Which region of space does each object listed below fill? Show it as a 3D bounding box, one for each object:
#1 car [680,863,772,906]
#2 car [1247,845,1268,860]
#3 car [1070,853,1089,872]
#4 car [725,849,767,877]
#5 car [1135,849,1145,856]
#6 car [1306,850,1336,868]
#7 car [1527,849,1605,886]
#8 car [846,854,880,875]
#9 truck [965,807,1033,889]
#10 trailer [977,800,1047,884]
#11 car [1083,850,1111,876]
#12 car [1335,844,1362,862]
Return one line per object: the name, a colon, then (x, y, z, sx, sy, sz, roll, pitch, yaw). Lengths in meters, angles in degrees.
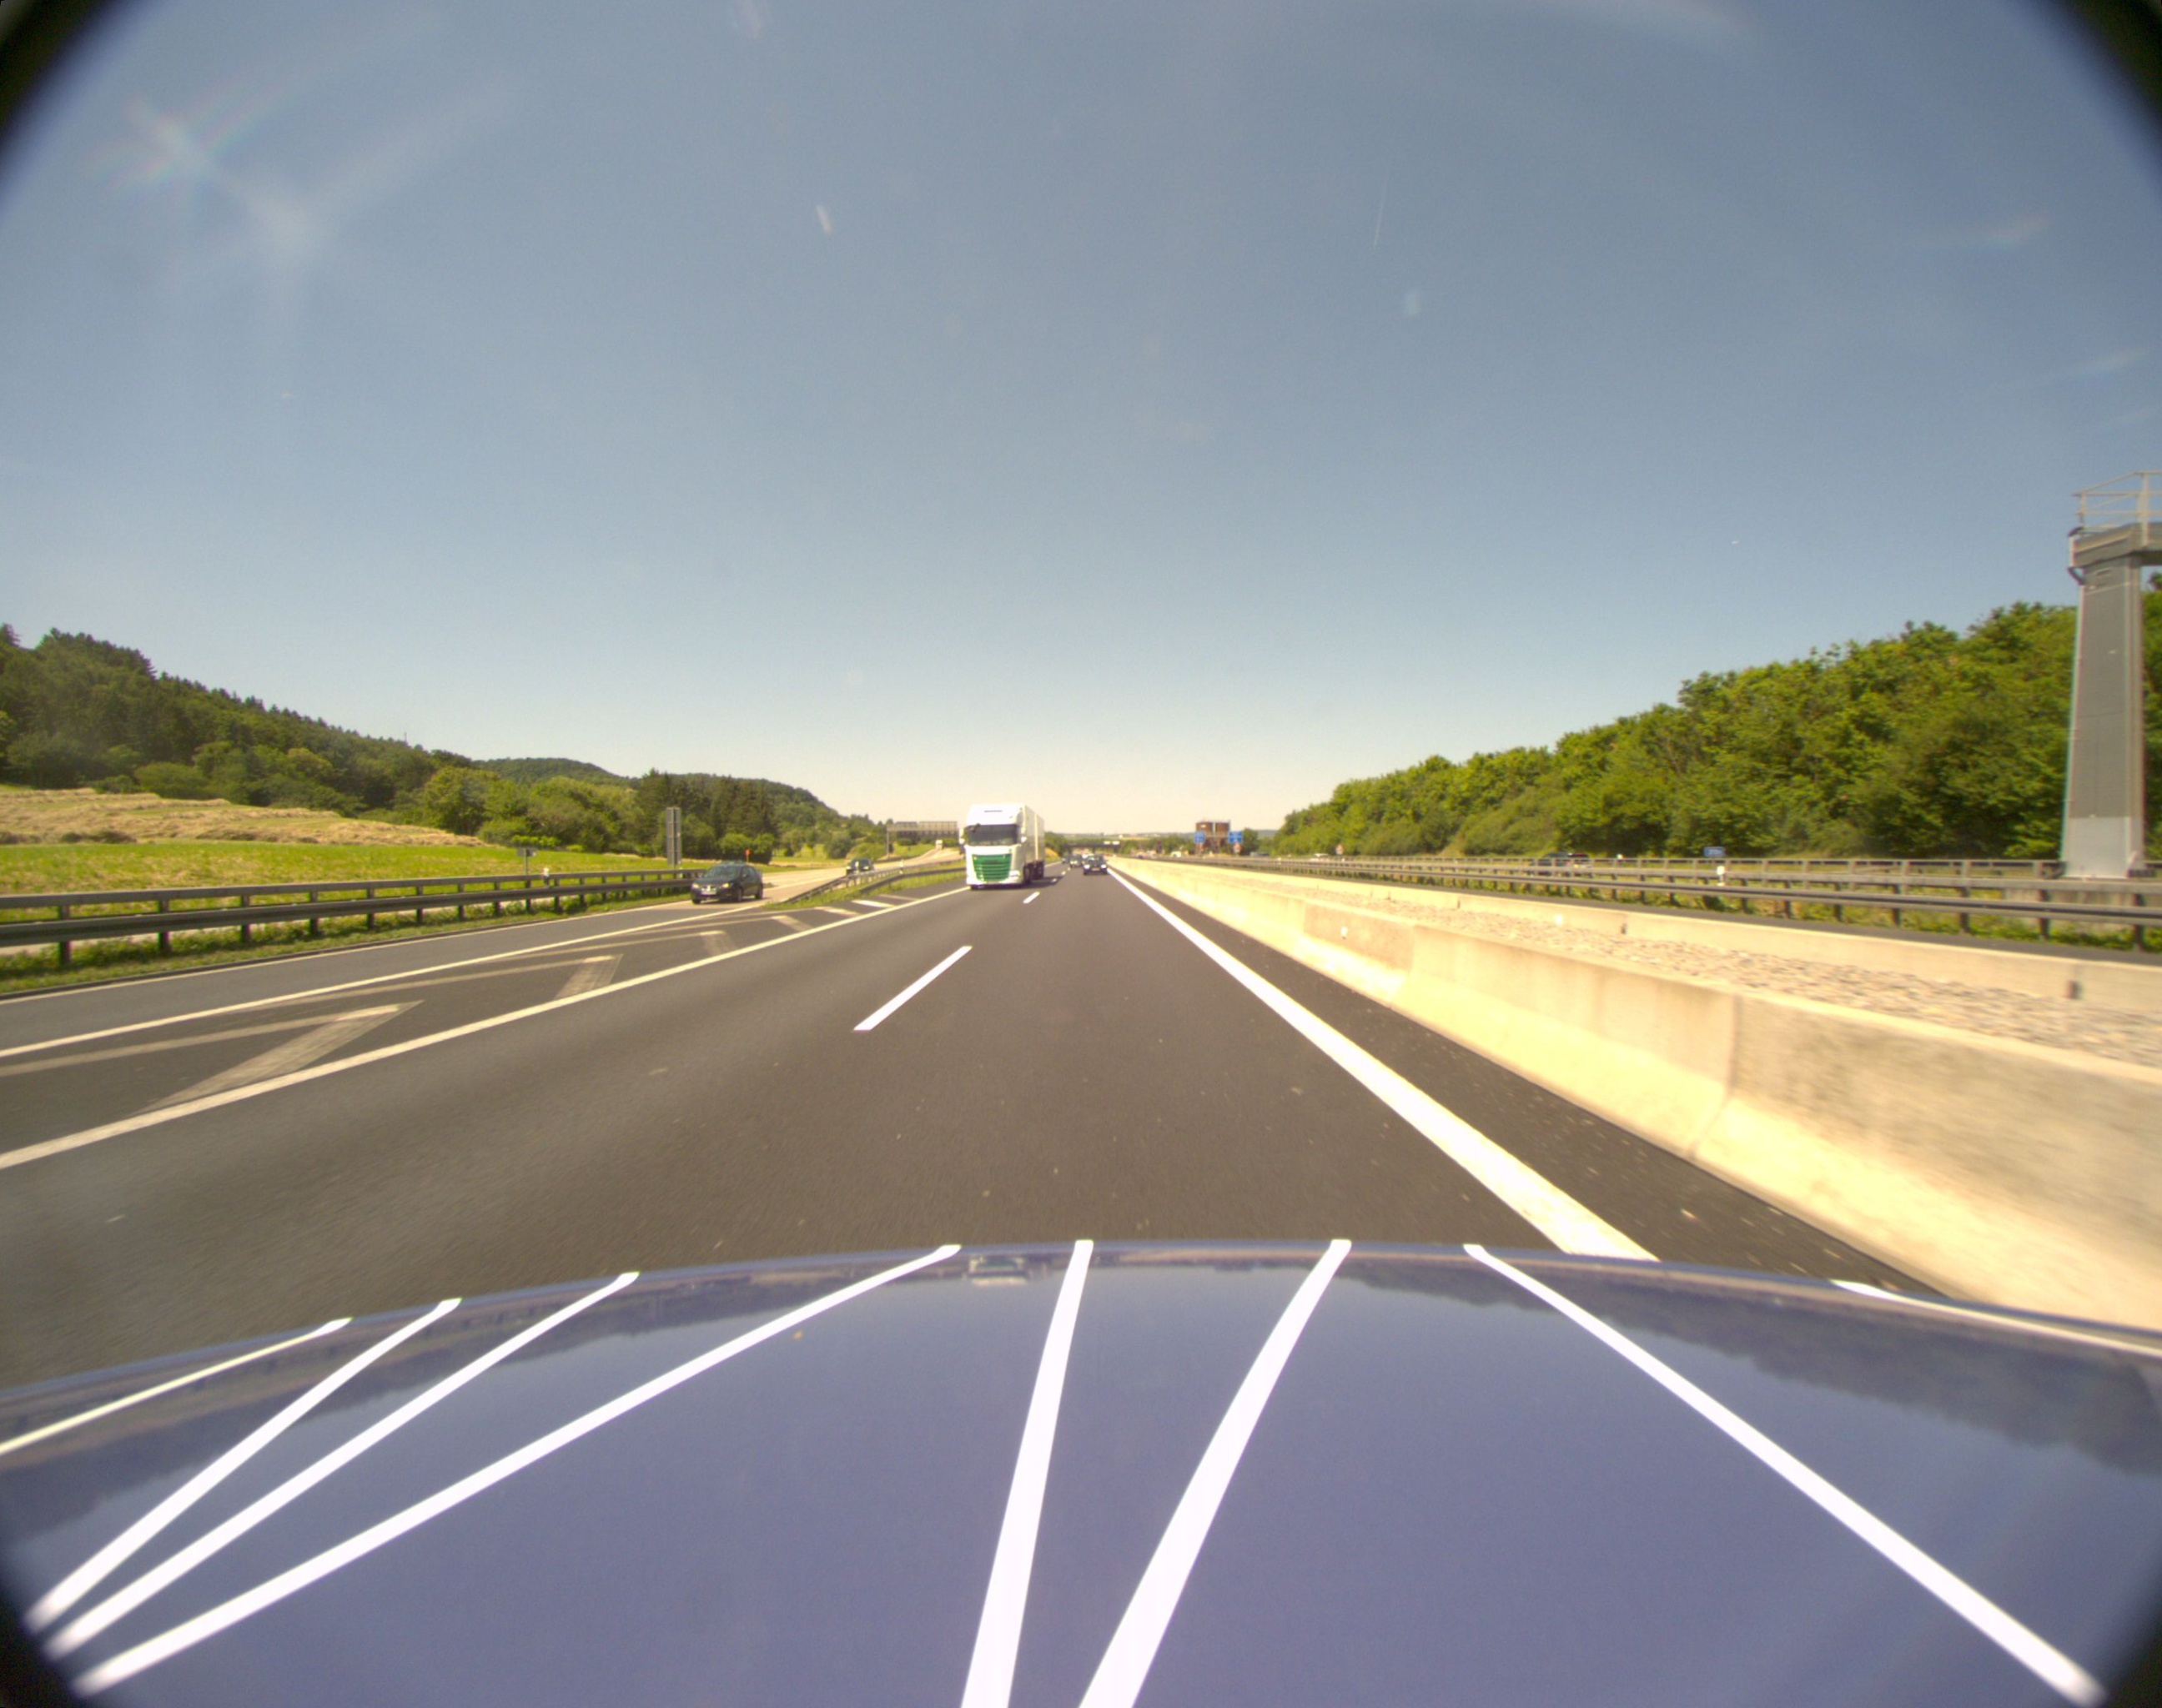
car: (-13.363, 1.106, 28.870, 1.781, 1.392, 3.759, -2, 1, -2)
car: (24.819, -0.258, 106.865, 1.951, 2.002, 4.764, -2, 1, 3)
car: (-0.110, 0.980, 86.495, 1.998, 2.002, 3.999, -2, 1, 1)
car: (-25.051, 0.638, 56.940, 2.000, 2.002, 3.996, 0, 1, -11)
car: (14.174, -0.283, 183.865, 1.839, 1.525, 4.157, -3, 1, -2)
car: (29.017, 0.574, 92.011, 1.951, 2.002, 4.763, -2, 1, 0)
car: (28.349, 0.744, 44.560, 1.998, 2.002, 3.999, -2, 1, 0)
car: (-17.206, 0.818, 60.046, 1.892, 1.464, 3.864, -2, 1, -7)
truck: (-3.801, -0.294, 36.153, 2.649, 3.572, 4.403, -2, 1, 0)
trailer: (-3.805, -0.666, 45.793, 2.663, 4.164, 14.892, -2, 1, 0)
car: (1.083, 0.582, 52.199, 1.799, 1.574, 3.999, -2, 1, 0)
car: (32.276, -0.151, 91.891, 1.951, 2.002, 4.021, -2, 1, 3)
